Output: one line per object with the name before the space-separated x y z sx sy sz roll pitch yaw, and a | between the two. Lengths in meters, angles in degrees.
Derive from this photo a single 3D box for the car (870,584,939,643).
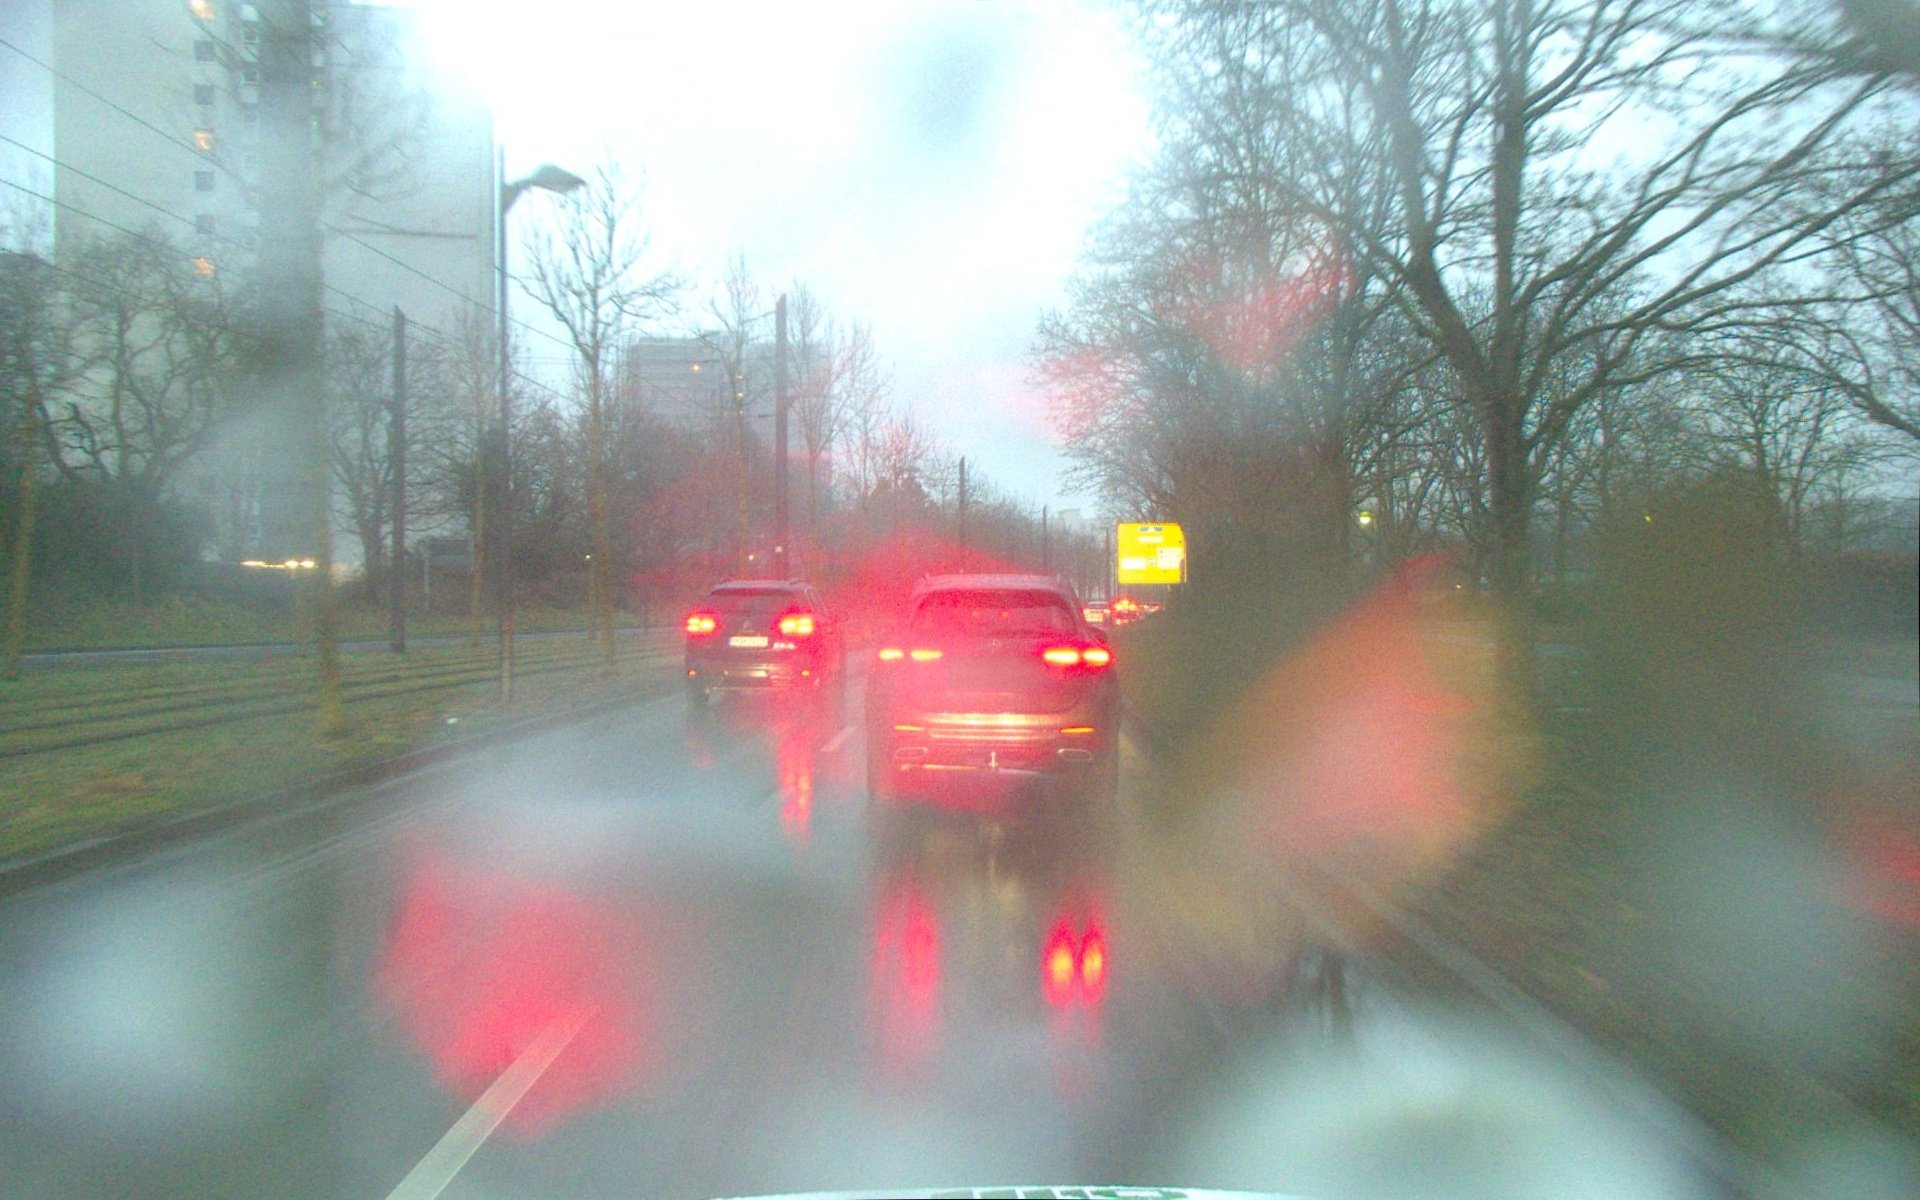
car | -1.578 0.361 48.120 1.841 1.621 4.000 -1 0 0

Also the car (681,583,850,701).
car | -2.620 0.525 23.189 1.841 1.485 4.000 -1 0 1

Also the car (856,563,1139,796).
car | 0.235 0.542 13.481 1.957 1.612 3.999 0 0 -1

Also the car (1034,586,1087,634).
car | 3.543 0.340 57.660 1.672 1.585 3.999 0 0 6
